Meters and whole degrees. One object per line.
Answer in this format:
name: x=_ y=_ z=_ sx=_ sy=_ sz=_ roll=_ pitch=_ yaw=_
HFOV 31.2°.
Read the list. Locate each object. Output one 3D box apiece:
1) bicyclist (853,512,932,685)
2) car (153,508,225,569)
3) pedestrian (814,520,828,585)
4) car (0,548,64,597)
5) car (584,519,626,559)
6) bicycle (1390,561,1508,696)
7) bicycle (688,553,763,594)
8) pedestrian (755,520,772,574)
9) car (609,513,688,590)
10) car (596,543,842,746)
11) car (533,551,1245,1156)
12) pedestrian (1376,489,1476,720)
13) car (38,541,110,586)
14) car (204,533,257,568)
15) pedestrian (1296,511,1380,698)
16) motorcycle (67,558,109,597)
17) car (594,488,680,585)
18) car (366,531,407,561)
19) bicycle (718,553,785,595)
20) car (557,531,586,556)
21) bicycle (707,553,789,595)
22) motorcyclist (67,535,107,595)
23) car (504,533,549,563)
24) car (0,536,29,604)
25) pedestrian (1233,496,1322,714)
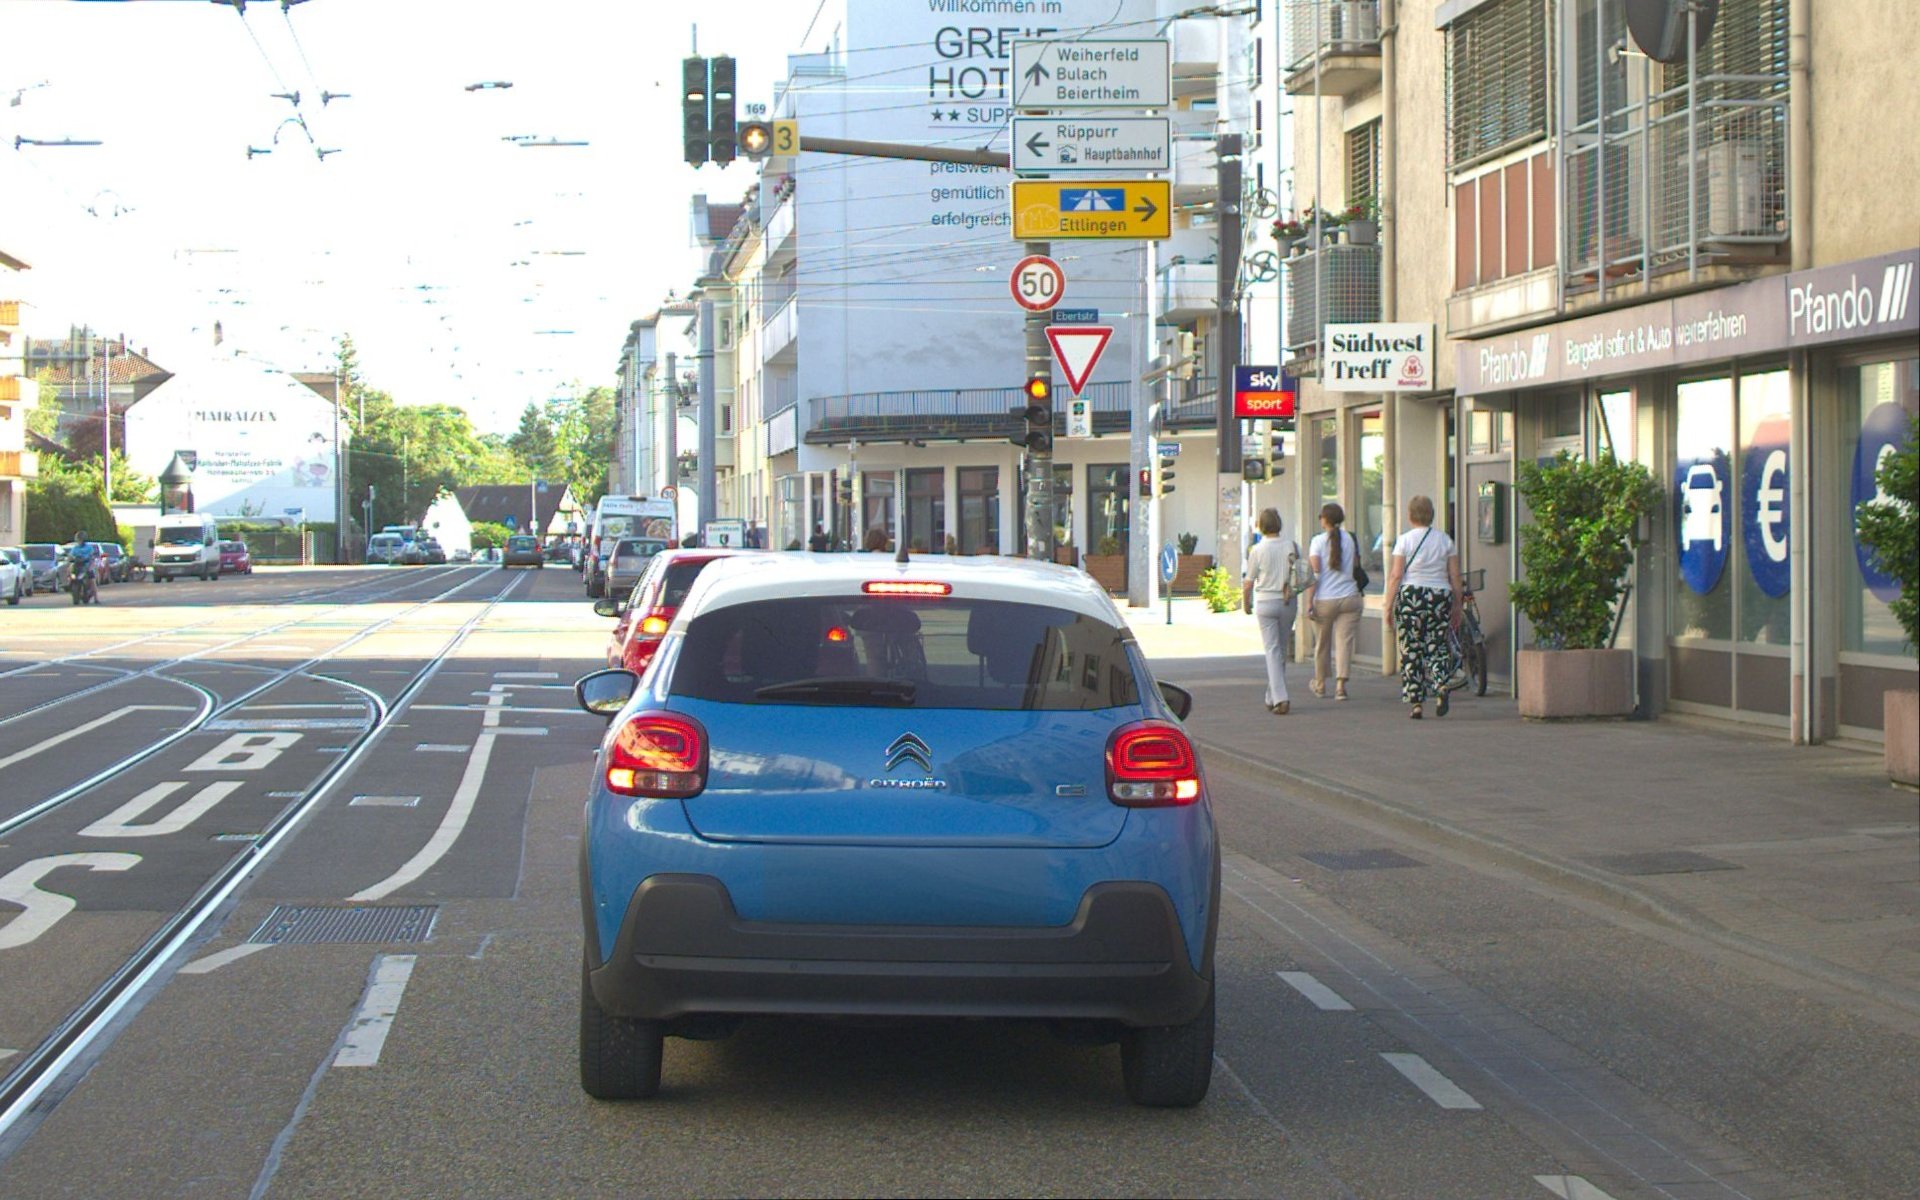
bicyclist: x=-0.652 y=-0.021 z=33.072 sx=0.726 sy=1.640 sz=0.790 roll=0 pitch=1 yaw=-3
car: x=-29.309 y=-2.353 z=130.762 sx=2.206 sy=2.243 sz=4.678 roll=0 pitch=1 yaw=-7
pedestrian: x=-3.355 y=-1.145 z=82.913 sx=0.284 sy=1.550 sz=0.305 roll=-1 pitch=1 yaw=-12
car: x=-29.681 y=-0.889 z=109.163 sx=1.910 sy=1.492 sz=4.001 roll=-1 pitch=1 yaw=-7
car: x=-14.832 y=-2.536 z=143.654 sx=1.688 sy=1.612 sz=4.001 roll=1 pitch=1 yaw=-6
bicycle: x=4.079 y=0.222 z=28.797 sx=0.530 sy=1.068 sz=1.811 roll=0 pitch=1 yaw=-7
bicycle: x=-5.524 y=-0.633 z=81.068 sx=1.720 sy=0.953 sz=0.702 roll=0 pitch=1 yaw=-2
pedestrian: x=-5.636 y=-1.530 z=98.580 sx=0.491 sy=1.550 sz=0.648 roll=0 pitch=1 yaw=-5
car: x=-7.279 y=-1.135 z=80.088 sx=1.732 sy=1.744 sz=3.214 roll=1 pitch=1 yaw=-7
car: x=-1.829 y=0.285 z=26.355 sx=1.738 sy=1.415 sz=4.001 roll=0 pitch=1 yaw=-3
car: x=-0.177 y=0.602 z=10.542 sx=1.744 sy=1.457 sz=4.000 roll=1 pitch=1 yaw=0
pedestrian: x=3.451 y=0.025 z=25.490 sx=0.541 sy=1.666 sz=0.650 roll=-2 pitch=1 yaw=-5
car: x=-30.270 y=-1.261 z=117.545 sx=1.910 sy=1.492 sz=4.001 roll=-1 pitch=1 yaw=-7
car: x=-33.076 y=-2.256 z=155.895 sx=2.021 sy=1.520 sz=4.001 roll=0 pitch=1 yaw=-7
pedestrian: x=3.132 y=0.030 z=28.505 sx=0.541 sy=1.502 sz=0.611 roll=-2 pitch=3 yaw=-5
motorcycle: x=-20.084 y=-0.522 z=79.210 sx=0.615 sy=0.861 sz=1.671 roll=0 pitch=1 yaw=-3
car: x=-8.007 y=-1.554 z=84.968 sx=1.993 sy=2.317 sz=4.001 roll=1 pitch=1 yaw=-7
car: x=-30.179 y=-2.854 z=180.958 sx=2.021 sy=1.520 sz=4.001 roll=0 pitch=1 yaw=-7
bicycle: x=-4.761 y=-0.594 z=78.684 sx=1.503 sy=0.953 sz=0.702 roll=0 pitch=1 yaw=-2
car: x=-28.738 y=-4.197 z=254.382 sx=1.993 sy=1.787 sz=4.001 roll=0 pitch=1 yaw=-3
bicycle: x=-4.917 y=-0.611 z=79.738 sx=1.873 sy=0.953 sz=0.702 roll=0 pitch=1 yaw=-2
motorcyclist: x=-20.066 y=-0.806 z=79.051 sx=0.719 sy=1.373 sz=0.911 roll=0 pitch=1 yaw=-3
car: x=-19.047 y=-2.286 z=150.804 sx=1.754 sy=1.255 sz=3.833 roll=0 pitch=1 yaw=-10
car: x=-23.320 y=-0.728 z=81.230 sx=1.849 sy=1.568 sz=4.402 roll=0 pitch=1 yaw=-6
pedestrian: x=2.494 y=0.032 z=27.017 sx=0.541 sy=1.666 sz=0.624 roll=-2 pitch=3 yaw=-5
